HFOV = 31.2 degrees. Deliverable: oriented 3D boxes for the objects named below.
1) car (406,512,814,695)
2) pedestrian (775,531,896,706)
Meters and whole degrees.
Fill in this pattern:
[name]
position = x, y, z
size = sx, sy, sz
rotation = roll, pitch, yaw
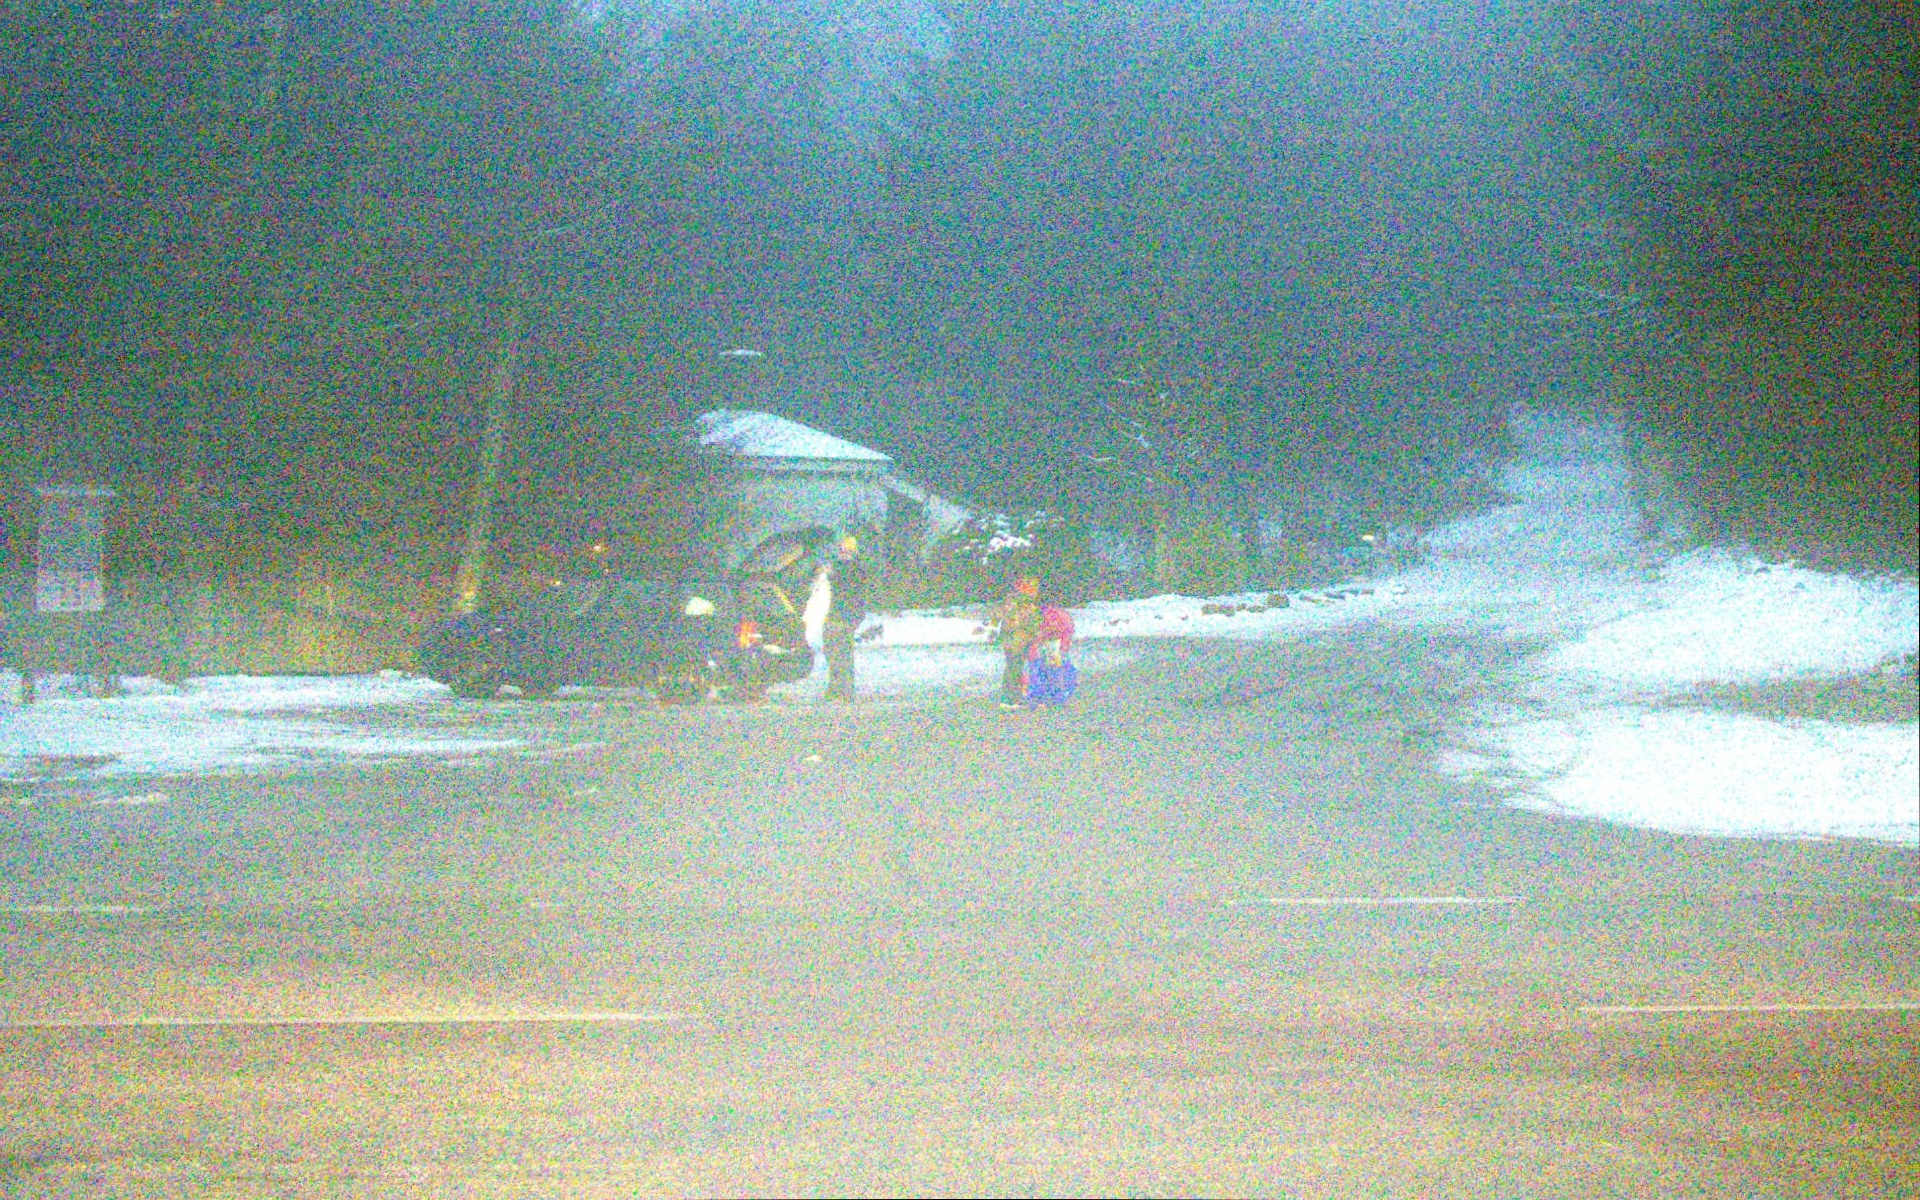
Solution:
[car]
position = -3.809, 0.036, 37.664
size = 3.950, 1.875, 1.998
rotation = 1, 0, 16
[pedestrian]
position = -1.316, 0.199, 36.502
size = 0.961, 1.822, 0.924
rotation = 1, -1, 21
